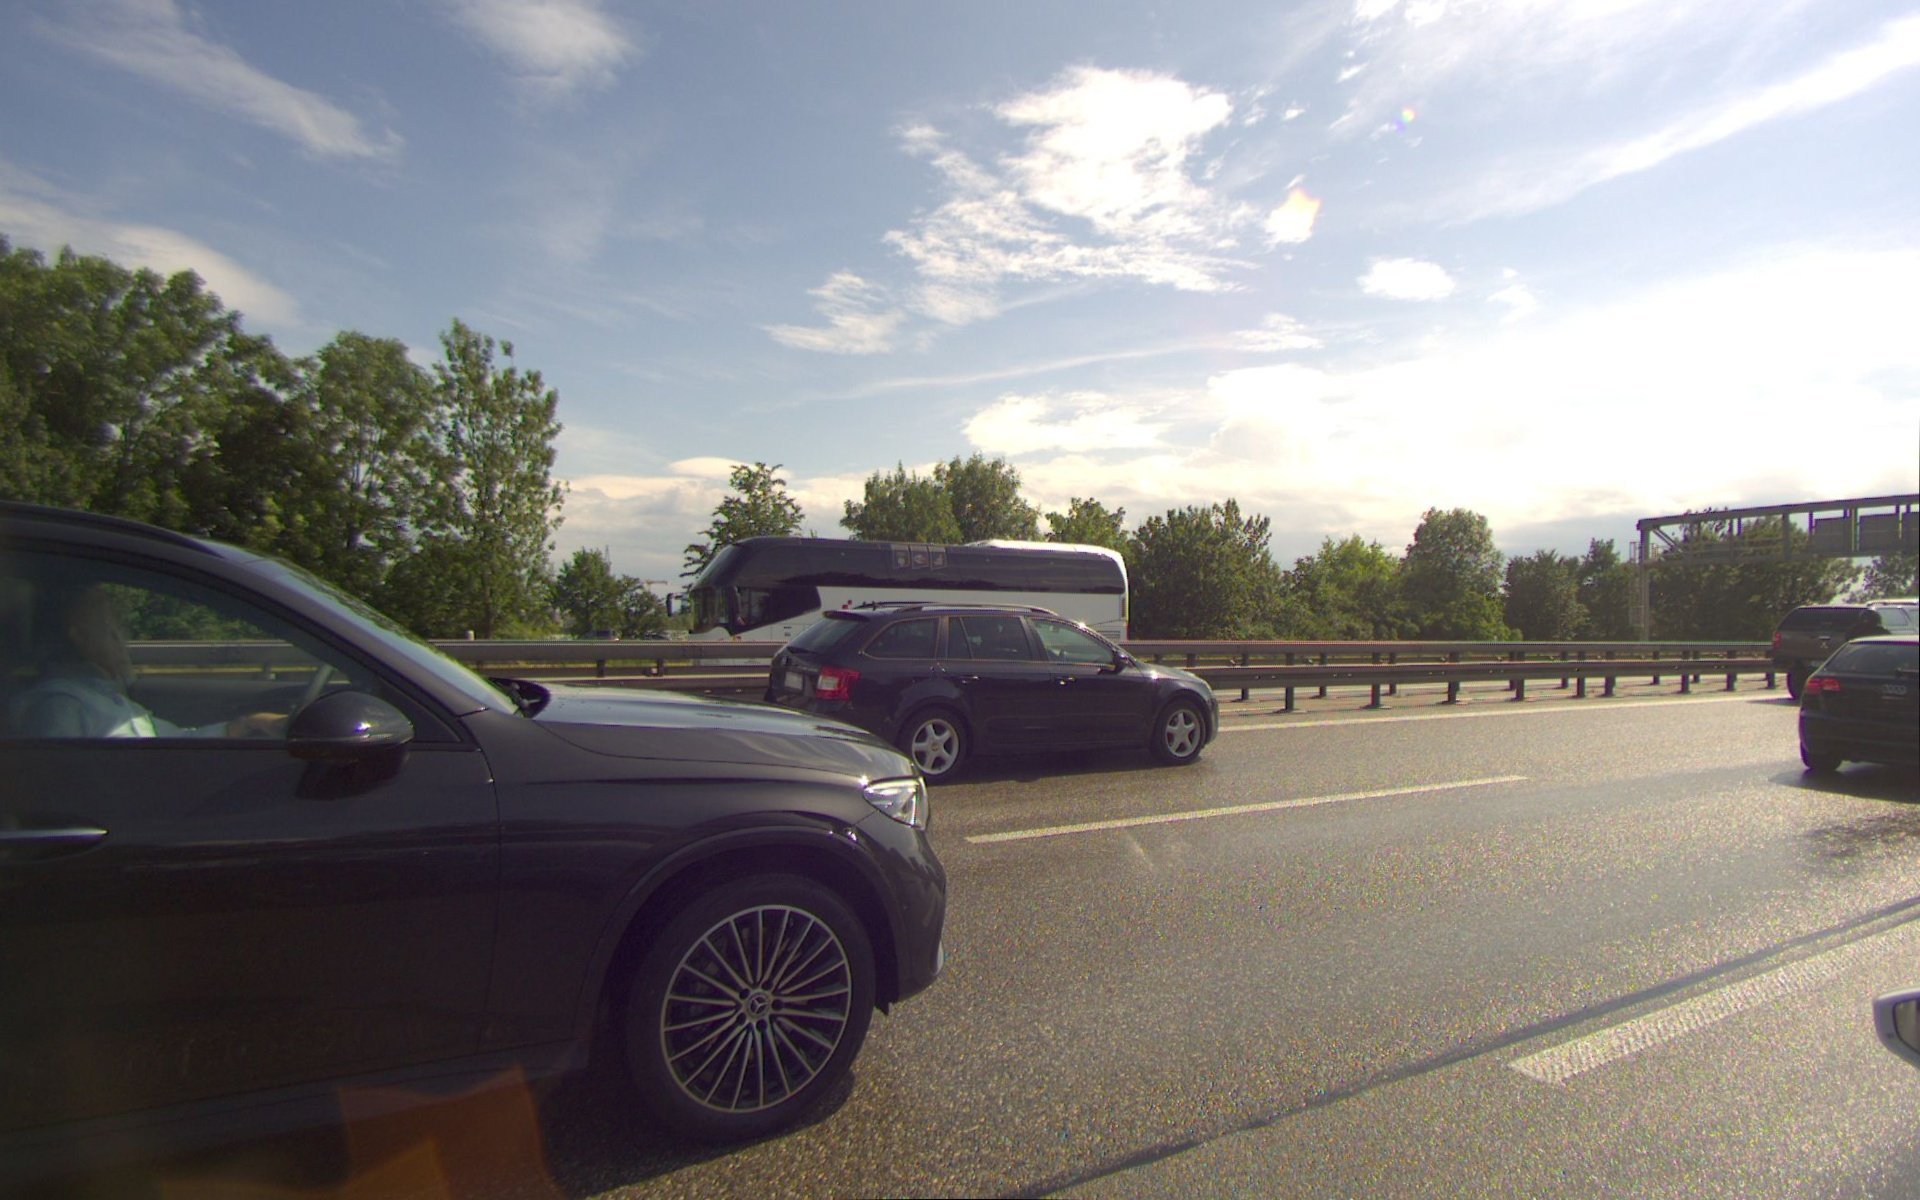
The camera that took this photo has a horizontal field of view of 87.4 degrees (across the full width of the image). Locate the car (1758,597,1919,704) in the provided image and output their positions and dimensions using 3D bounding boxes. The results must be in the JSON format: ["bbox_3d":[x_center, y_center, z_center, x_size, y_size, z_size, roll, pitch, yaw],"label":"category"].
[{"bbox_3d":[18.023,0.938,19.718,5.352,1.869,1.798,1,0,-29],"label":"car"}]

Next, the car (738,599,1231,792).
[{"bbox_3d":[0.303,0.762,9.489,4.322,1.444,1.910,1,0,-31],"label":"car"}]

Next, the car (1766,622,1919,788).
[{"bbox_3d":[10.135,0.984,10.182,4.006,1.452,1.742,1,0,-30],"label":"car"}]

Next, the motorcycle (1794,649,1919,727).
[{"bbox_3d":[13.285,1.272,14.867,2.360,1.041,0.687,1,0,-30],"label":"motorcycle"}]

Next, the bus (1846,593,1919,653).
[{"bbox_3d":[56.953,1.389,59.882,12.077,3.330,2.923,1,0,-32],"label":"bus"}]

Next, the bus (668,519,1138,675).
[{"bbox_3d":[-1.057,0.055,26.276,12.324,3.419,2.877,1,0,-31],"label":"bus"}]

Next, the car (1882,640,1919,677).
[{"bbox_3d":[41.018,2.460,42.591,3.954,1.461,1.767,1,0,-31],"label":"car"}]

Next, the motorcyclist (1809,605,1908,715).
[{"bbox_3d":[13.321,0.869,14.892,1.080,1.558,0.792,1,0,-30],"label":"motorcyclist"}]

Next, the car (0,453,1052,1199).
[{"bbox_3d":[-2.161,0.573,2.774,4.571,1.701,1.868,1,0,-30],"label":"car"}]

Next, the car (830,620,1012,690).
[{"bbox_3d":[-0.819,1.133,21.199,3.478,1.327,1.644,1,0,-28],"label":"car"}]
